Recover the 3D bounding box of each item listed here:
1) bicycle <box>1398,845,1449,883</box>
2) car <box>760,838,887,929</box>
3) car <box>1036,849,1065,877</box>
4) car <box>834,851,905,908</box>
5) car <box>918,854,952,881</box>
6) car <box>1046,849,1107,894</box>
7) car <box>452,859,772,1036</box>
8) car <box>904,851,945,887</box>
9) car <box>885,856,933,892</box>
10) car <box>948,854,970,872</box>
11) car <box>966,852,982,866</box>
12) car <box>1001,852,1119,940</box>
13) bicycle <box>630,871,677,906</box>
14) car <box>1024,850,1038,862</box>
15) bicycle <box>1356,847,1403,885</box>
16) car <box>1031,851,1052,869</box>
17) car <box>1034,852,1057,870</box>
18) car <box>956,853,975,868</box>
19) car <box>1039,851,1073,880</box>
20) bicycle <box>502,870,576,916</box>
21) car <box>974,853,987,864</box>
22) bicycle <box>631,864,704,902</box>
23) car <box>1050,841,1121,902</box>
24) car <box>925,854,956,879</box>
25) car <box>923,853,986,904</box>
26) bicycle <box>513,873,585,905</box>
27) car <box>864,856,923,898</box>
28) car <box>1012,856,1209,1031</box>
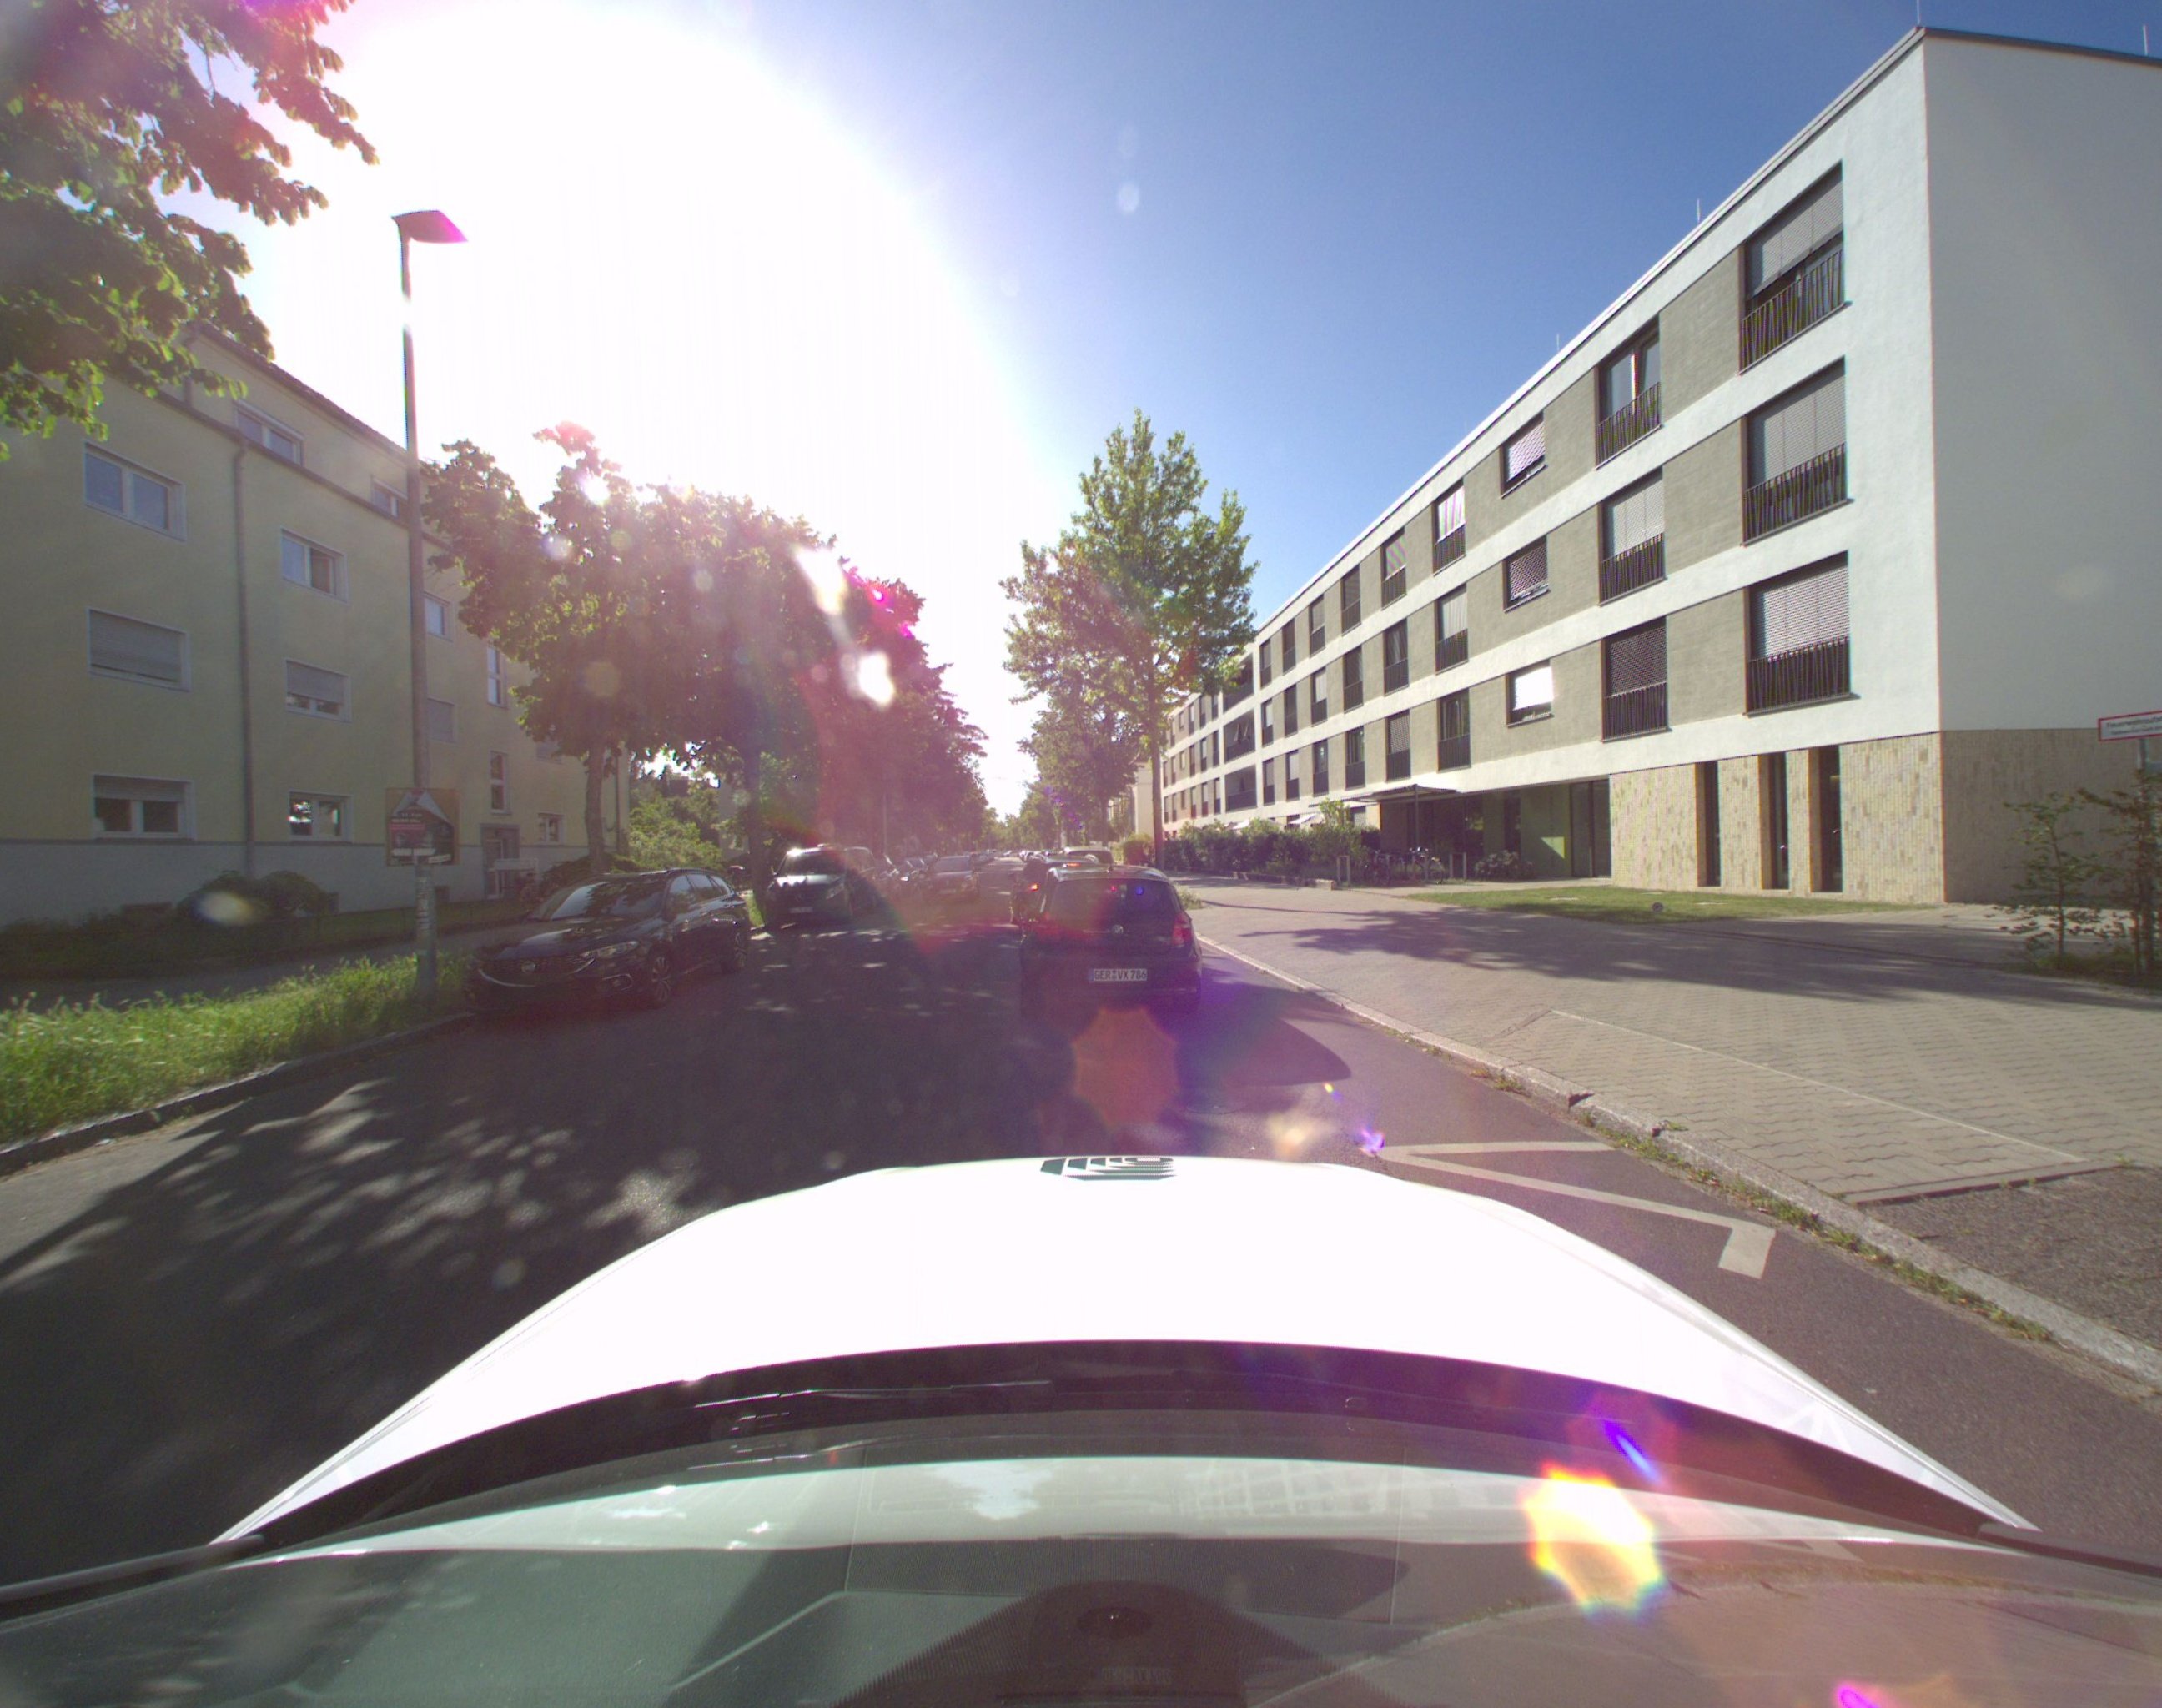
[{"bbox_3d":[10.050,0.280,23.967,0.545,1.055,1.775,-3,0,-7],"label":"bicycle"},{"bbox_3d":[-6.284,0.628,20.541,1.823,1.904,5.134,-3,0,-4],"label":"car"},{"bbox_3d":[-1.919,0.506,50.394,1.717,1.641,3.846,0,0,-4],"label":"car"},{"bbox_3d":[-6.721,0.758,26.264,1.611,1.611,4.219,-3,0,-7],"label":"car"},{"bbox_3d":[-8.506,0.769,47.700,1.610,1.452,3.858,-3,0,-6],"label":"car"},{"bbox_3d":[-0.239,0.592,30.053,1.693,1.524,3.988,-1,0,-9],"label":"car"},{"bbox_3d":[-5.396,0.904,10.207,1.505,1.548,4.769,-4,0,-5],"label":"car"},{"bbox_3d":[-8.042,0.720,42.025,1.610,1.678,4.226,-3,0,-6],"label":"car"},{"bbox_3d":[-7.668,0.842,36.605,1.610,1.427,3.718,-3,0,-6],"label":"car"},{"bbox_3d":[-10.254,0.767,68.571,1.610,1.392,3.858,-3,0,-6],"label":"car"},{"bbox_3d":[-12.137,0.553,92.669,1.610,1.392,3.858,-3,0,-6],"label":"car"},{"bbox_3d":[-0.544,0.713,16.040,1.650,1.425,3.986,-2,1,-11],"label":"car"},{"bbox_3d":[-13.454,1.059,25.682,0.593,0.991,1.925,-2,0,-5],"label":"bicycle"},{"bbox_3d":[-6.452,0.235,105.315,1.716,1.480,3.848,-2,0,-2],"label":"car"},{"bbox_3d":[8.699,0.328,23.795,0.545,1.055,1.687,-3,0,-7],"label":"bicycle"},{"bbox_3d":[-3.443,0.489,70.209,1.717,1.480,3.846,0,0,-4],"label":"car"},{"bbox_3d":[-2.868,0.548,65.463,1.717,1.379,3.846,0,0,-4],"label":"car"},{"bbox_3d":[-11.483,0.615,81.264,1.610,1.392,3.858,-3,0,-6],"label":"car"},{"bbox_3d":[-1.393,0.583,44.419,1.717,1.528,3.995,0,0,-4],"label":"car"},{"bbox_3d":[-13.098,0.924,19.739,0.593,0.991,1.925,-2,0,-5],"label":"bicycle"},{"bbox_3d":[-13.870,0.551,112.236,1.610,1.392,3.858,-2,0,-6],"label":"car"},{"bbox_3d":[-14.419,0.992,28.468,2.150,1.208,0.686,-2,0,-16],"label":"bicycle"},{"bbox_3d":[0.044,0.473,24.371,1.844,1.631,4.405,-1,0,-3],"label":"car"},{"bbox_3d":[-9.007,0.763,52.276,1.610,1.452,3.858,-3,0,-6],"label":"car"},{"bbox_3d":[-3.920,0.719,25.634,1.501,1.426,3.176,-2,1,-1],"label":"car"},{"bbox_3d":[-18.096,1.185,27.756,1.923,0.991,0.594,-2,0,-13],"label":"bicycle"},{"bbox_3d":[-7.188,0.838,31.543,1.610,1.427,4.050,-3,0,-6],"label":"car"},{"bbox_3d":[0.123,0.769,8.737,1.647,1.396,3.405,-2,1,-5],"label":"car"}]
